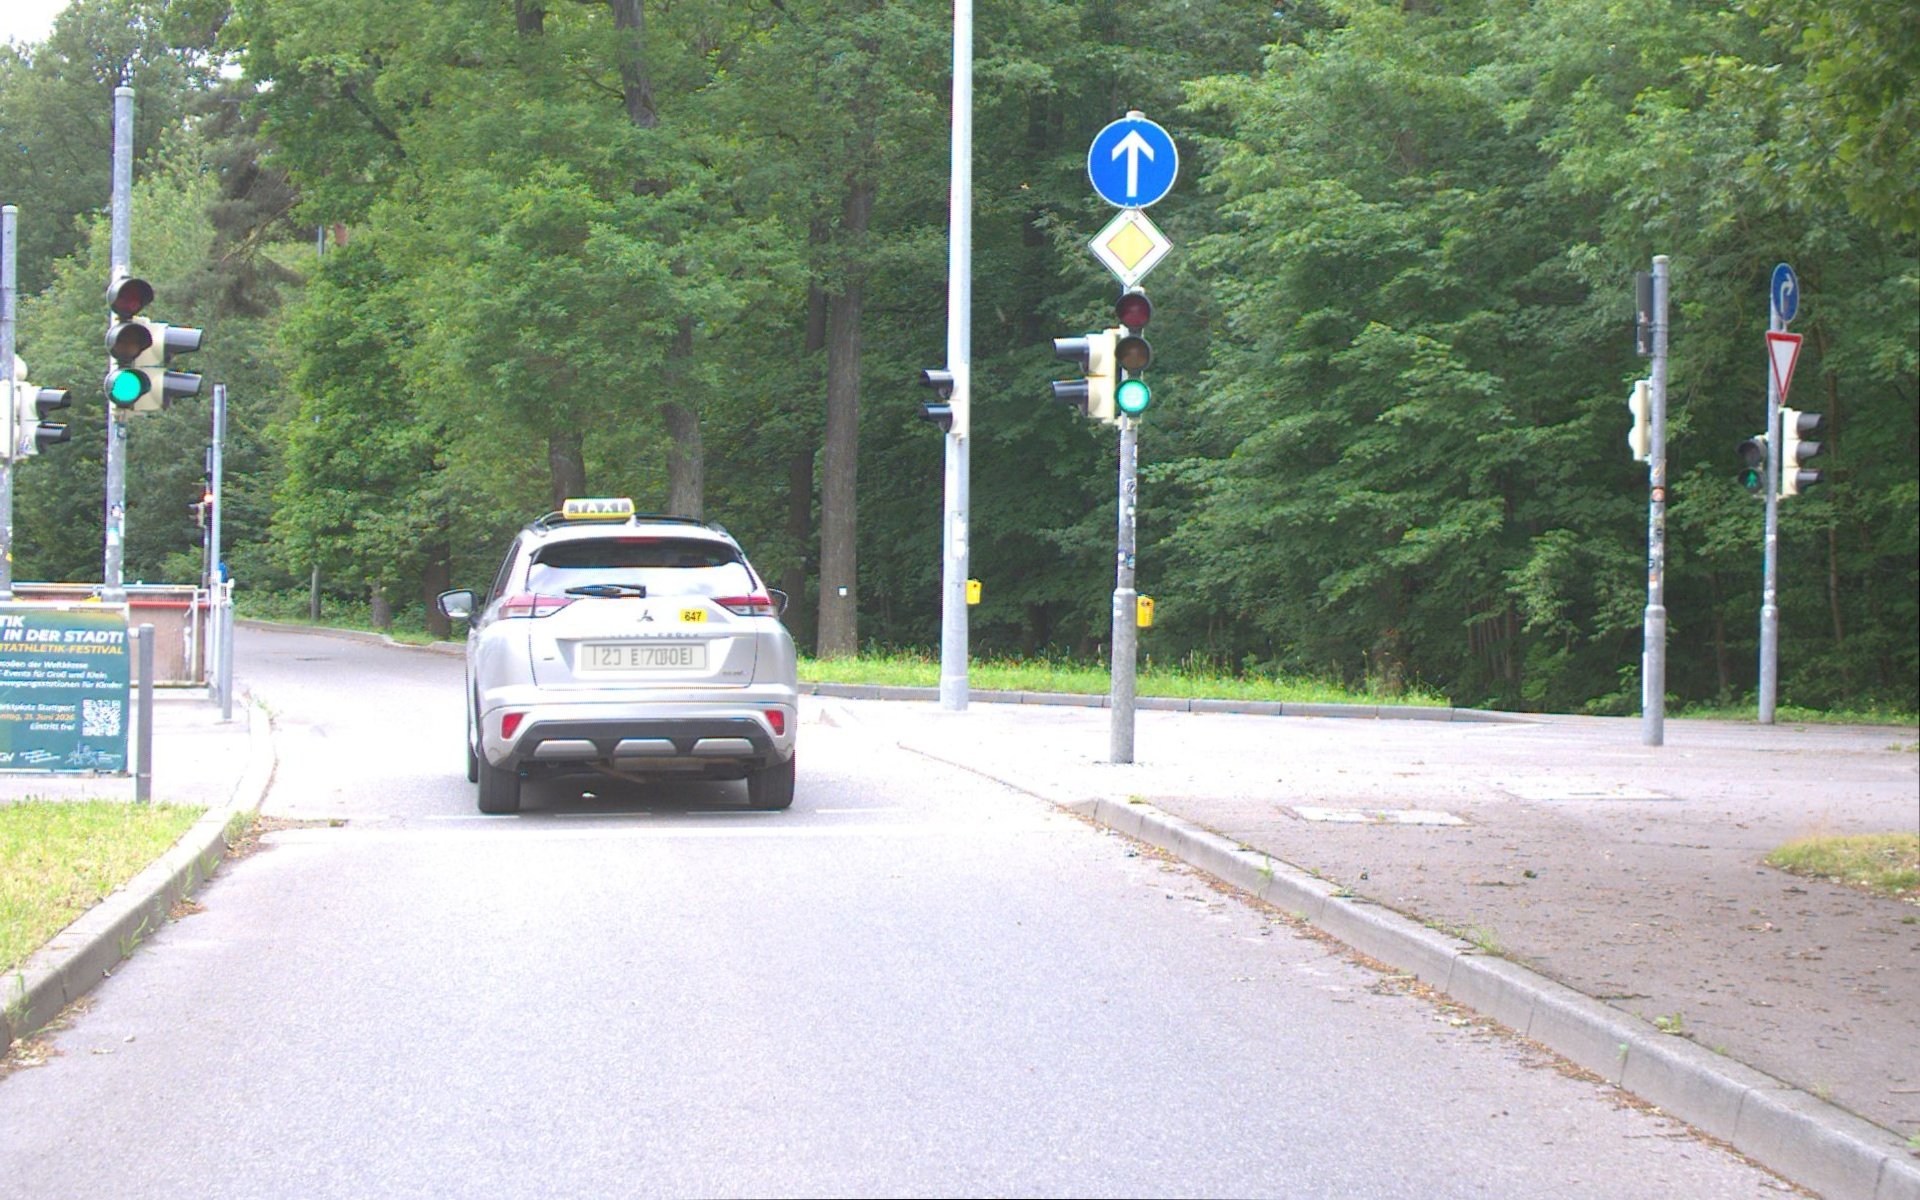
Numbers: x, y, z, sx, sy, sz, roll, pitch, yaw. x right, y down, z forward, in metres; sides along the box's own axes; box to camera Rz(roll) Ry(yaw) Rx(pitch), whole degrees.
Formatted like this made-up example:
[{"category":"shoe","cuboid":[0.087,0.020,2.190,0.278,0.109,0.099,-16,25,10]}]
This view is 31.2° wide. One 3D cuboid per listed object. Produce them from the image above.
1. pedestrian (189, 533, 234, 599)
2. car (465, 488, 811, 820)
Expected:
[{"category":"pedestrian","cuboid":[-18.931,-0.868,86.957,1.047,1.643,1.069,-1,1,-15]},{"category":"car","cuboid":[-2.011,0.258,20.480,1.846,1.774,4.001,0,1,-8]}]
